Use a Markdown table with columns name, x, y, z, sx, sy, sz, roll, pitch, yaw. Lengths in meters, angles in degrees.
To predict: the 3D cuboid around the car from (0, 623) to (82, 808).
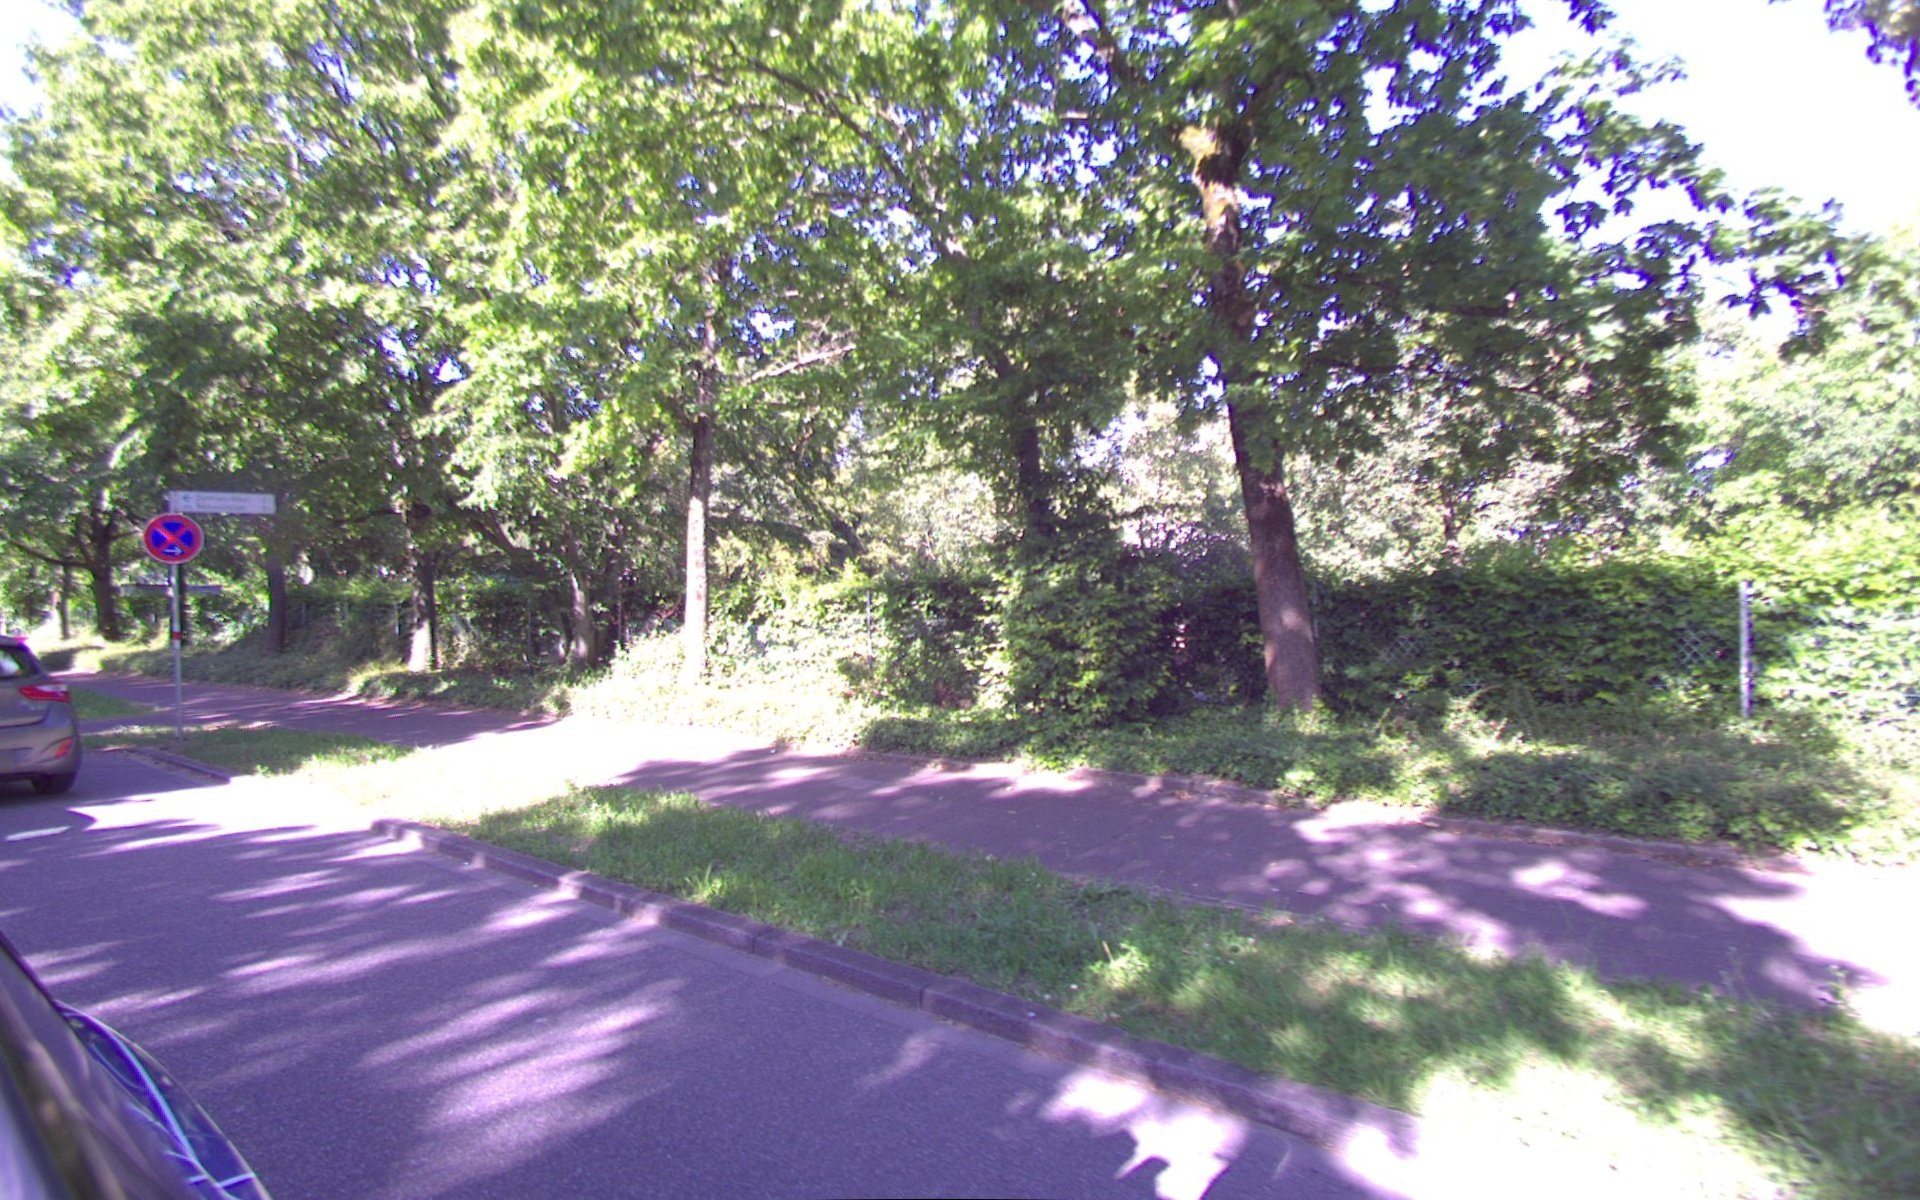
| name | x | y | z | sx | sy | sz | roll | pitch | yaw |
| --- | --- | --- | --- | --- | --- | --- | --- | --- | --- |
| car | -9.621 | 0.959 | 8.766 | 4.225 | 1.465 | 1.743 | -2 | -2 | 30 |

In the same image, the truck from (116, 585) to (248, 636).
| name | x | y | z | sx | sy | sz | roll | pitch | yaw |
| --- | --- | --- | --- | --- | --- | --- | --- | --- | --- |
| truck | -32.569 | 0.465 | 42.437 | 2.200 | 2.029 | 3.950 | -2 | -2 | 37 |
